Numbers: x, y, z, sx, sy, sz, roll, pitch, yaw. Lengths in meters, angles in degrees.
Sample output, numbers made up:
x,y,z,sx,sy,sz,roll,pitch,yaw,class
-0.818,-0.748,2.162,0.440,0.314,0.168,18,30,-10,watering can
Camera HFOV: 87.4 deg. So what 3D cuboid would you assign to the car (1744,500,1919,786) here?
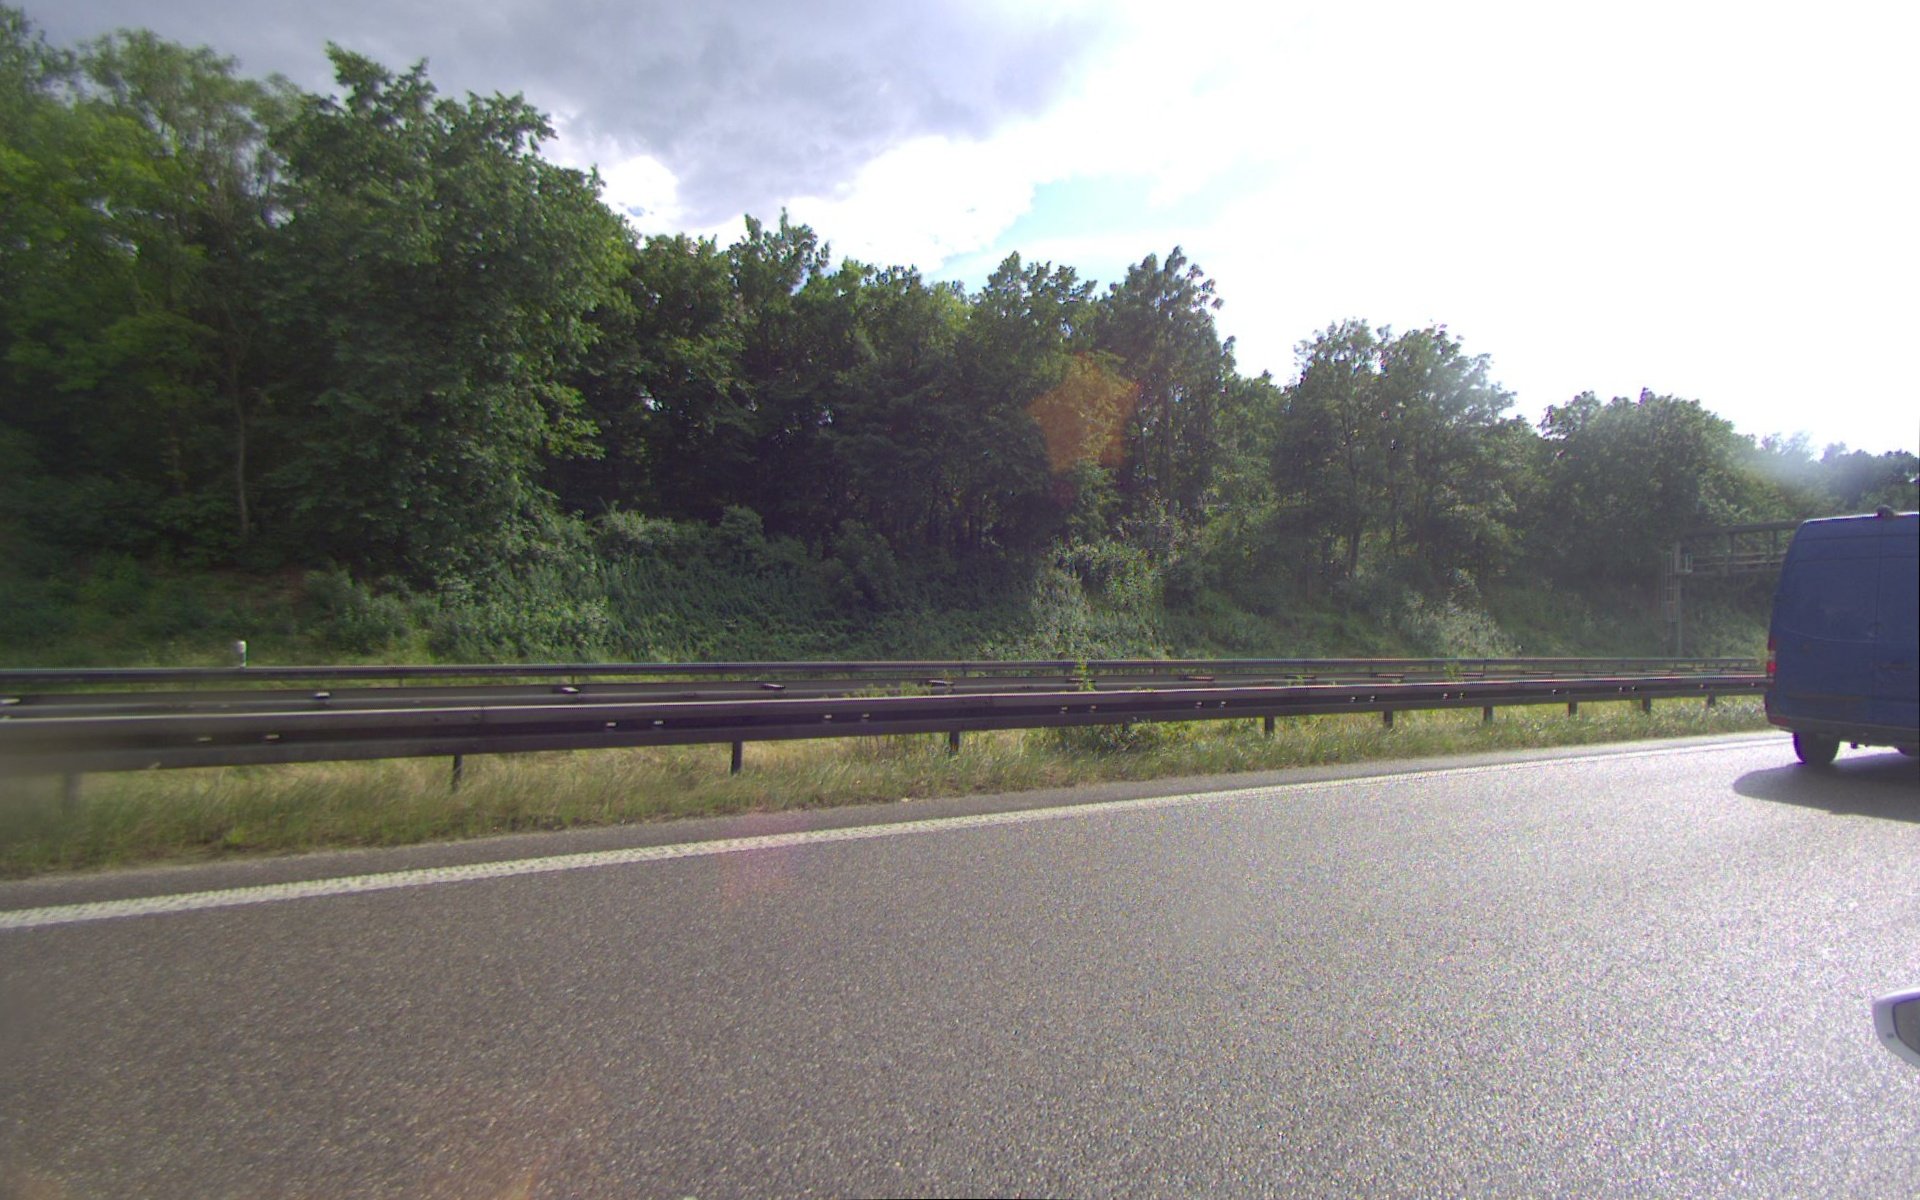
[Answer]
x,y,z,sx,sy,sz,roll,pitch,yaw,class
11.284,0.474,11.255,5.710,2.684,2.005,2,0,-31,car
